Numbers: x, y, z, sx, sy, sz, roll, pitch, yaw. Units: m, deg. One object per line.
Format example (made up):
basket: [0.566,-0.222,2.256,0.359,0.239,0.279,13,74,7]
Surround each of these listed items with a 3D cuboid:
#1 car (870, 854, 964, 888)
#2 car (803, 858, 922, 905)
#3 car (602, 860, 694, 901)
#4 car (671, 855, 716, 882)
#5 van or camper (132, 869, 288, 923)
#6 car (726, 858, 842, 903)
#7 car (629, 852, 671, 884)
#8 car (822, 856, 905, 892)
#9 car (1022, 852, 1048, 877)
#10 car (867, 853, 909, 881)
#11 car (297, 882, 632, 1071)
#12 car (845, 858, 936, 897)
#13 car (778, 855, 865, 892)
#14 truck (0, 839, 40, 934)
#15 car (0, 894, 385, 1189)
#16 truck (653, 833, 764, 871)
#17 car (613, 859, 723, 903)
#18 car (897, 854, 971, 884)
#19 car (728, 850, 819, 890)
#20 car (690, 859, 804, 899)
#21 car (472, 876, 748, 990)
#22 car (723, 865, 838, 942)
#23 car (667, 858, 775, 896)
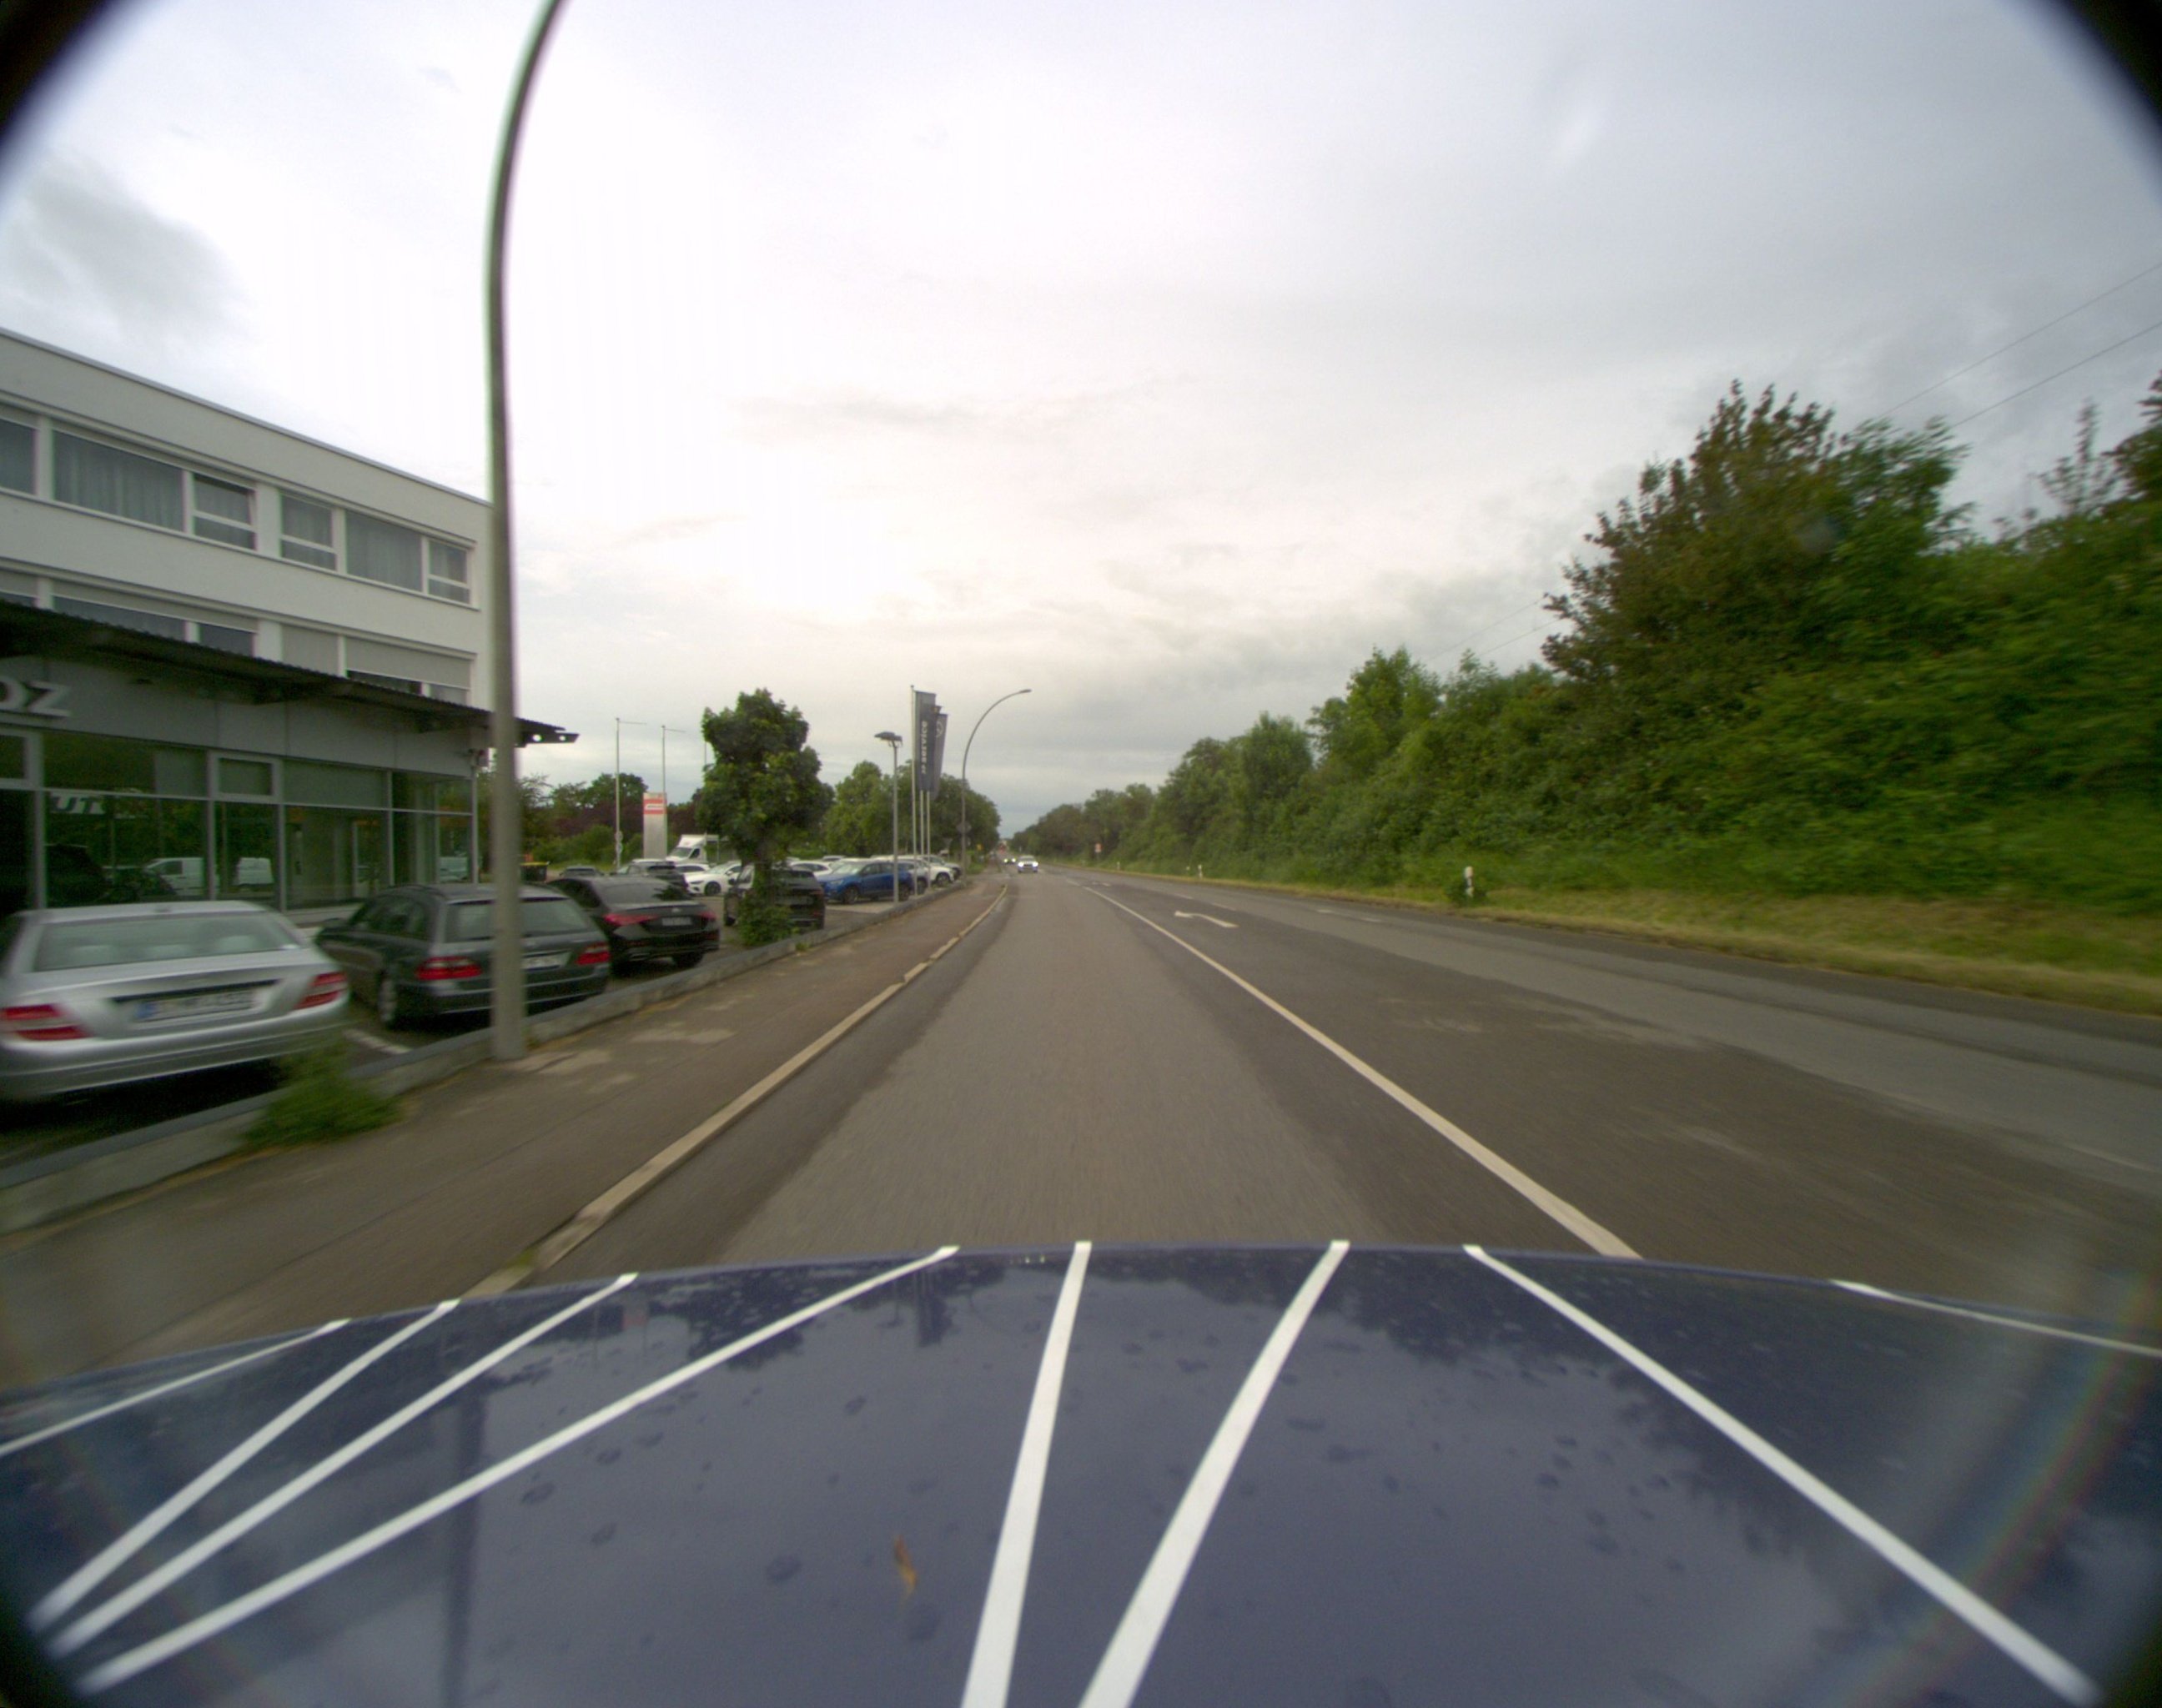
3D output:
car: [-8.689,0.851,40.439,4.436,1.643,1.922,-1,1,-39]
car: [-8.560,1.018,30.090,1.838,1.623,4.375,2,1,33]
car: [-17.156,1.011,30.077,3.552,1.469,1.784,1,0,34]
car: [-21.641,0.796,42.362,1.775,1.452,3.990,0,-1,-34]
van or camper: [-37.620,1.770,32.942,1.804,2.028,4.006,-1,1,23]
car: [-11.727,0.993,30.290,1.727,1.590,4.187,1,1,28]
car: [-21.883,0.723,38.519,1.775,1.542,3.442,0,-1,-30]
car: [-10.330,0.889,36.219,1.659,1.590,3.566,1,1,33]
car: [-4.208,0.948,70.386,1.998,2.002,3.999,-3,1,2]
car: [-12.672,0.834,50.111,1.813,1.663,4.707,-2,1,-3]
car: [-7.142,1.182,8.705,3.989,1.547,1.902,-2,2,36]
car: [-8.524,0.991,34.309,1.727,1.590,3.822,1,1,34]
car: [-13.099,0.929,38.542,1.676,1.447,3.929,6,7,35]
truck: [-41.234,1.347,25.634,2.565,3.395,6.659,-2,2,26]
car: [-7.651,1.196,6.231,4.162,1.459,1.840,1,2,33]
truck: [-29.841,-0.234,61.378,2.783,2.608,8.483,-3,1,18]
car: [-18.875,1.195,34.884,1.767,1.632,3.993,-2,3,32]
car: [-9.253,0.914,48.168,1.961,1.661,4.373,-1,1,38]
car: [-15.796,0.813,39.187,1.674,1.711,4.006,-2,3,32]
car: [-13.969,1.010,32.011,1.898,1.536,4.008,-1,0,31]
car: [-7.654,1.128,12.249,4.431,1.470,1.938,-1,0,31]
car: [-7.373,1.077,18.375,1.845,1.598,4.539,0,-1,-31]
car: [-16.031,0.977,34.027,1.898,1.536,4.008,-1,0,30]
